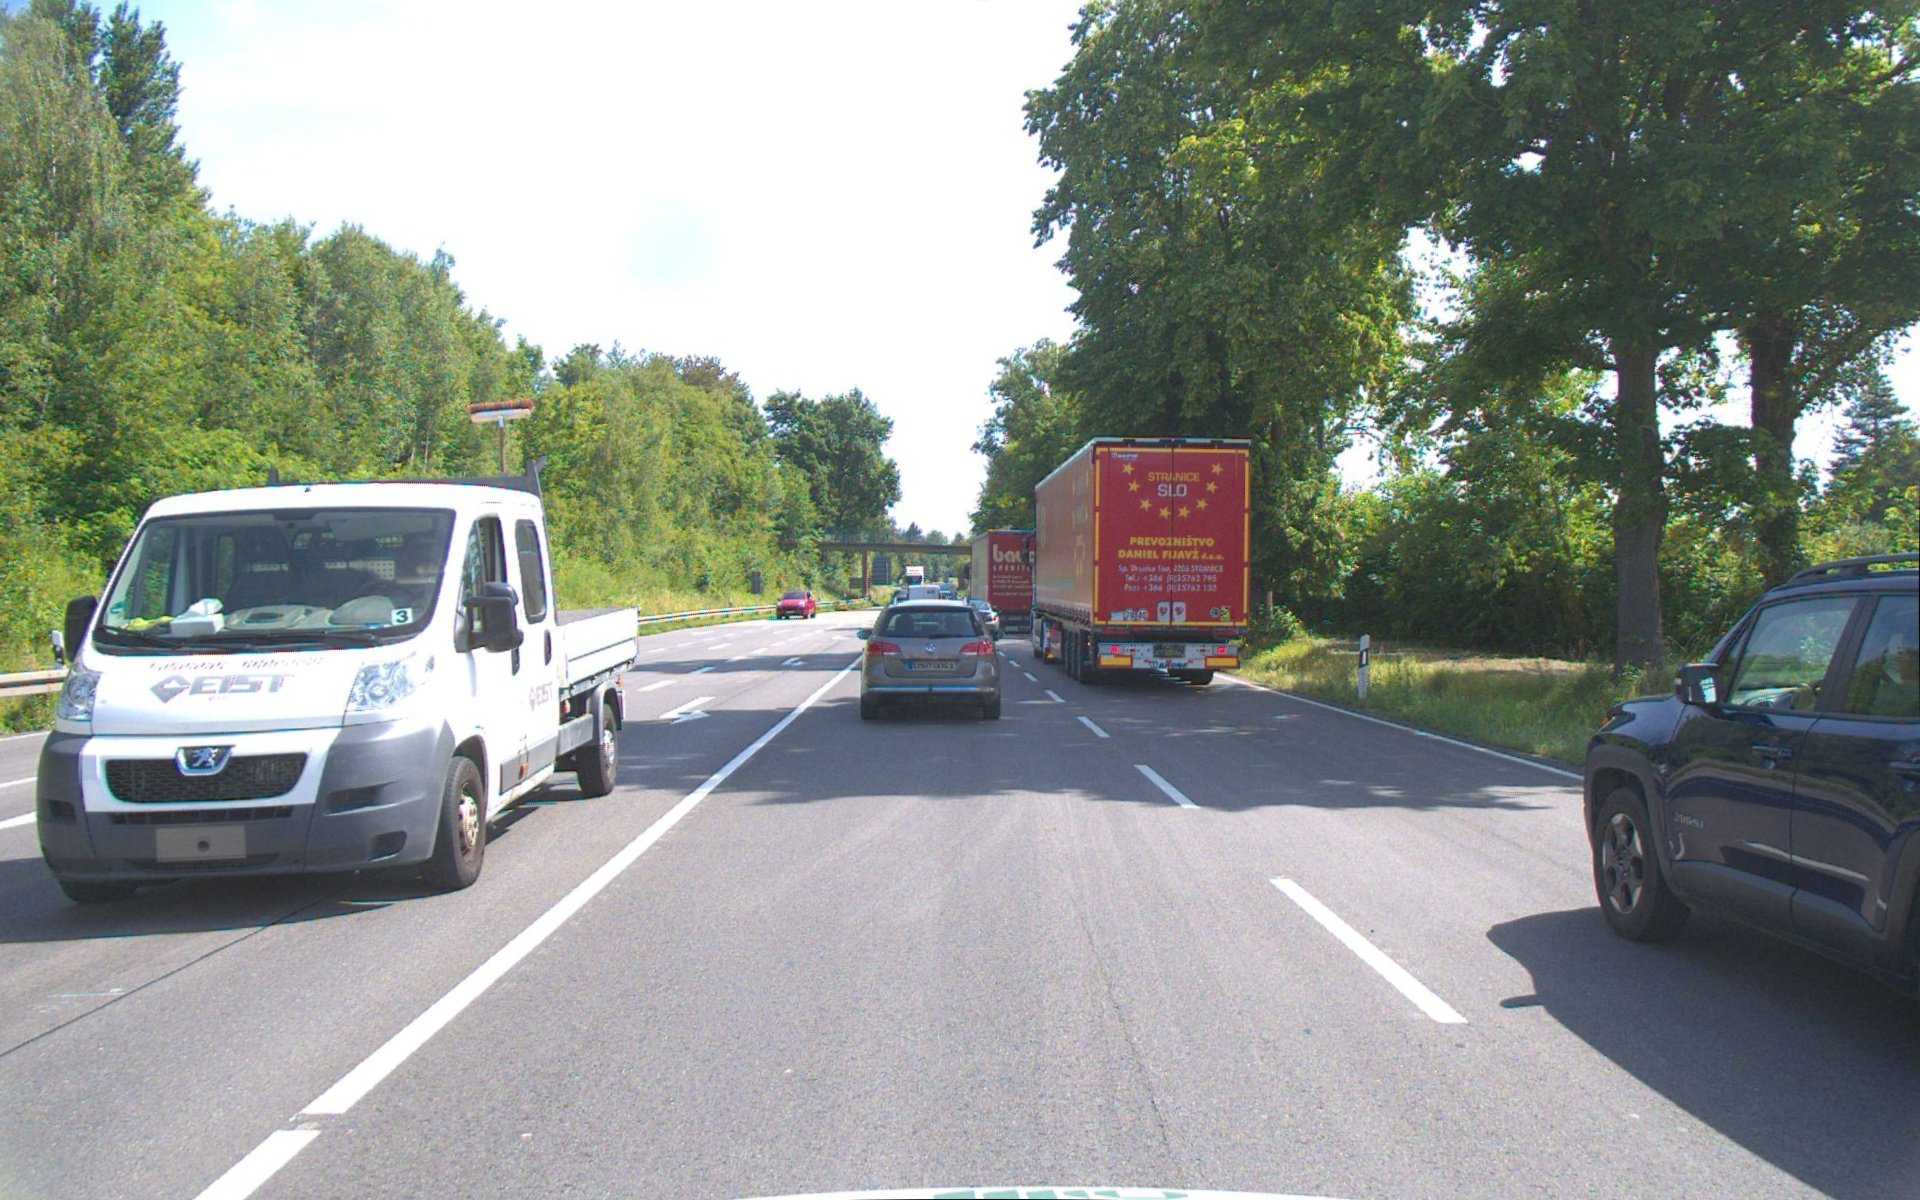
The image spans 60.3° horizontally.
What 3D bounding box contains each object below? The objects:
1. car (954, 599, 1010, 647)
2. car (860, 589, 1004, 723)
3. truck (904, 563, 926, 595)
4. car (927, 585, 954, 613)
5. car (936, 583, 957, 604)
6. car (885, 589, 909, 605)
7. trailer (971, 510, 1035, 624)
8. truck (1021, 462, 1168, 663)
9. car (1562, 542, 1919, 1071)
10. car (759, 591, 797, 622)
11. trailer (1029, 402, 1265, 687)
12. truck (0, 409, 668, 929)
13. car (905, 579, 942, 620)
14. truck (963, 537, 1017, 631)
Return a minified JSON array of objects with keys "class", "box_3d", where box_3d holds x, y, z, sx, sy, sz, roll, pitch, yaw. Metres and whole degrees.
[{"class":"car","box_3d":[0.709,0.773,56.488,1.734,1.539,3.999,-1,0,-2]},{"class":"car","box_3d":[-0.378,0.667,21.444,1.657,1.539,3.999,-1,0,-2]},{"class":"truck","box_3d":[-6.039,-2.723,220.479,2.718,4.000,9.462,-1,0,-2]},{"class":"car","box_3d":[-1.516,-0.068,128.175,1.953,2.049,3.999,-1,0,-1]},{"class":"car","box_3d":[-1.364,-0.691,167.486,1.953,2.049,3.999,-1,0,-1]},{"class":"car","box_3d":[-5.937,-0.256,155.278,1.922,1.439,4.001,-1,0,2]},{"class":"trailer","box_3d":[1.741,-1.246,70.174,2.346,4.317,13.078,-1,0,1]},{"class":"truck","box_3d":[3.037,-0.811,38.994,2.812,4.356,5.837,1,0,-2]},{"class":"car","box_3d":[3.881,0.639,6.101,1.734,1.683,3.998,-1,0,-2]},{"class":"car","box_3d":[-11.164,0.412,101.656,1.933,1.828,4.807,-1,0,-2]},{"class":"trailer","box_3d":[3.216,-0.847,32.563,2.782,4.442,13.163,1,0,-2]},{"class":"truck","box_3d":[-3.553,0.325,10.749,2.181,2.307,6.498,-1,0,-1]},{"class":"car","box_3d":[-1.794,-0.011,81.859,1.734,1.970,3.976,-1,0,-2]},{"class":"truck","box_3d":[1.393,-0.708,77.234,2.357,4.200,5.521,-1,0,1]}]
